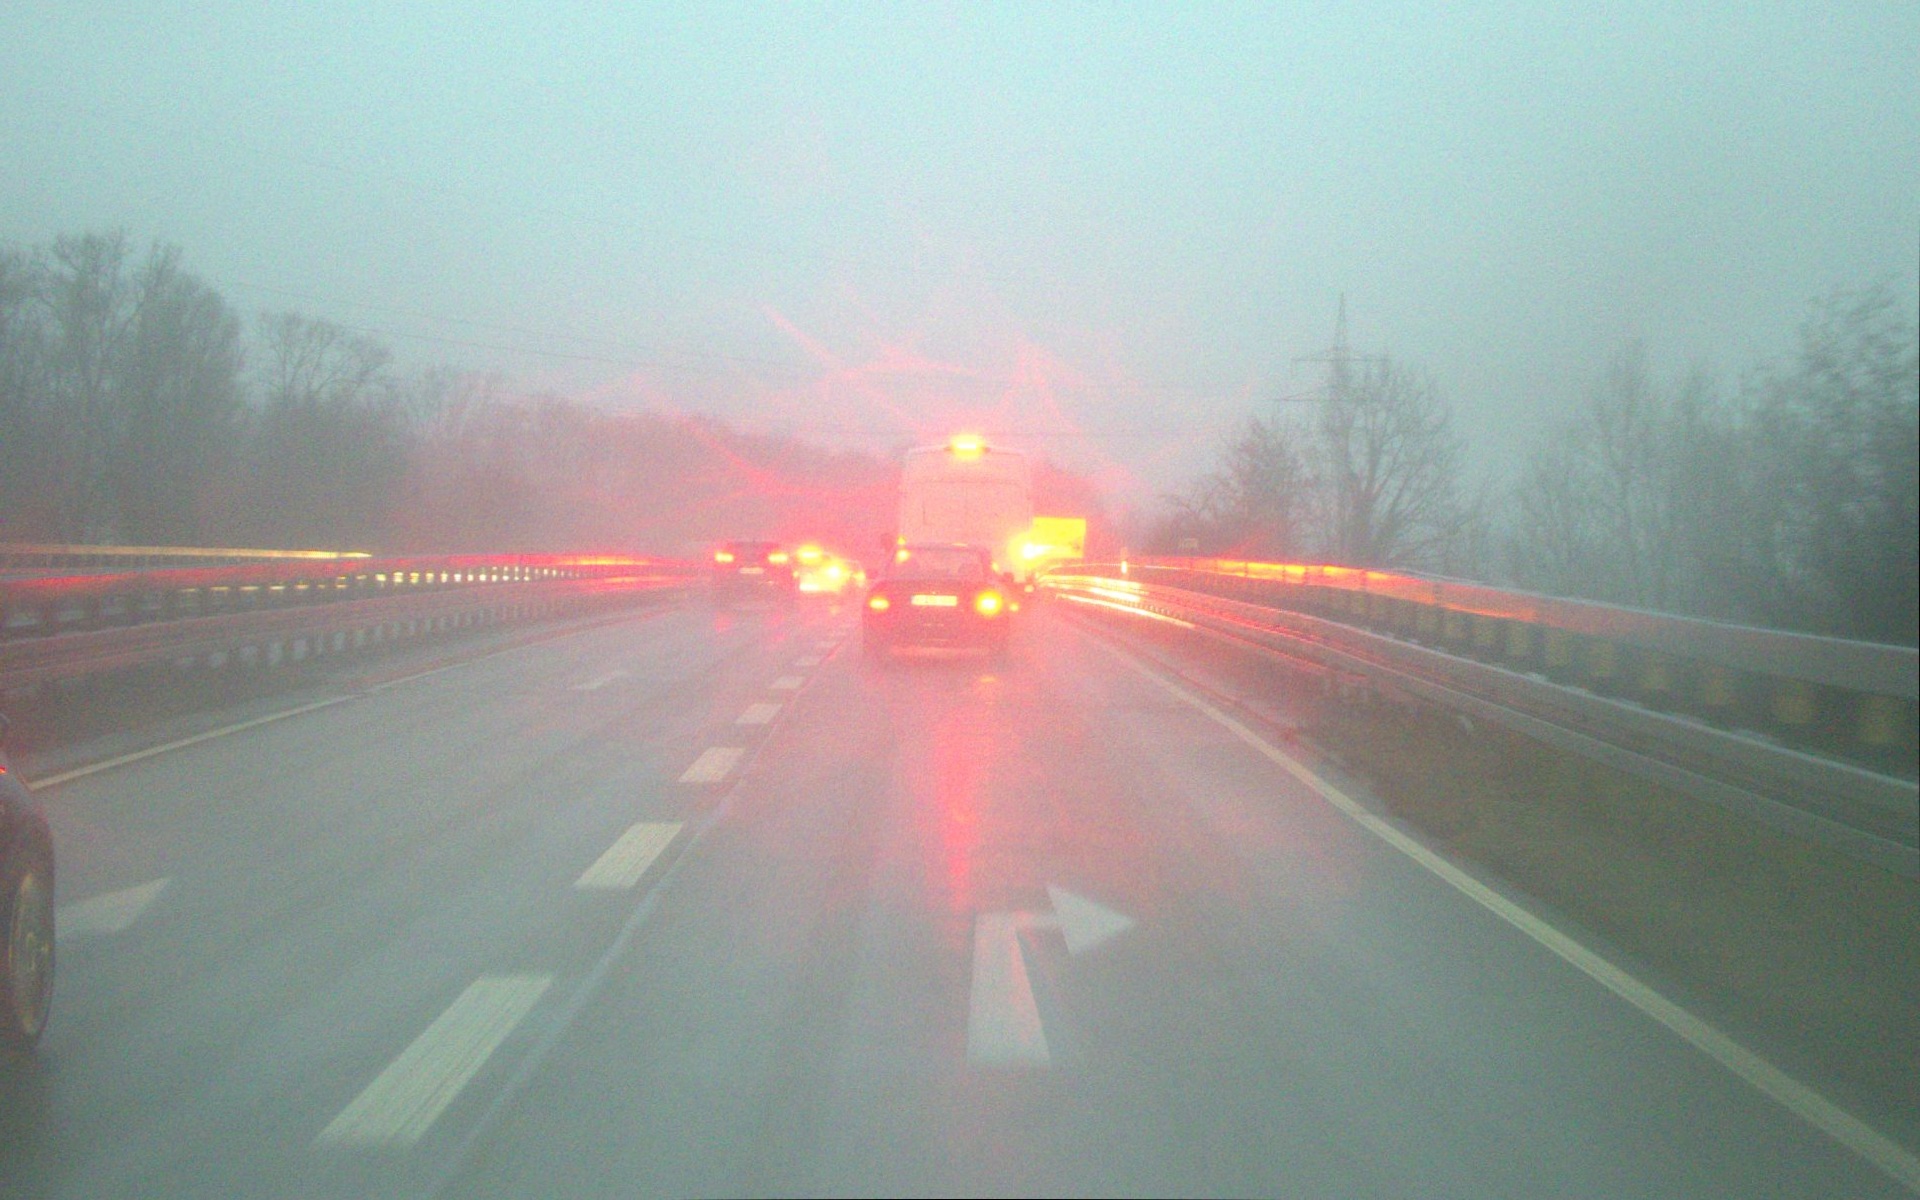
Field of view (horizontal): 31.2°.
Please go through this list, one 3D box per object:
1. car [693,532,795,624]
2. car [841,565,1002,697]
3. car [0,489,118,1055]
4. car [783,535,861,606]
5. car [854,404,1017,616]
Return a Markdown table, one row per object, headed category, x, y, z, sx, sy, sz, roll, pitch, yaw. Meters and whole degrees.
| category | x | y | z | sx | sy | sz | roll | pitch | yaw |
| --- | --- | --- | --- | --- | --- | --- | --- | --- | --- |
| car | -4.620 | -0.487 | 74.087 | 1.993 | 1.808 | 4.000 | 3 | 1 | -2 |
| car | -0.408 | 0.336 | 41.019 | 1.736 | 1.410 | 4.377 | 3 | 0 | 1 |
| car | -3.461 | 0.446 | 8.464 | 1.730 | 1.527 | 4.042 | 0 | -1 | 1 |
| car | -3.746 | -0.818 | 93.667 | 1.993 | 1.708 | 4.001 | -3 | 2 | -2 |
| car | -0.365 | -1.252 | 51.519 | 2.282 | 2.956 | 6.390 | 0 | 0 | 0 |
